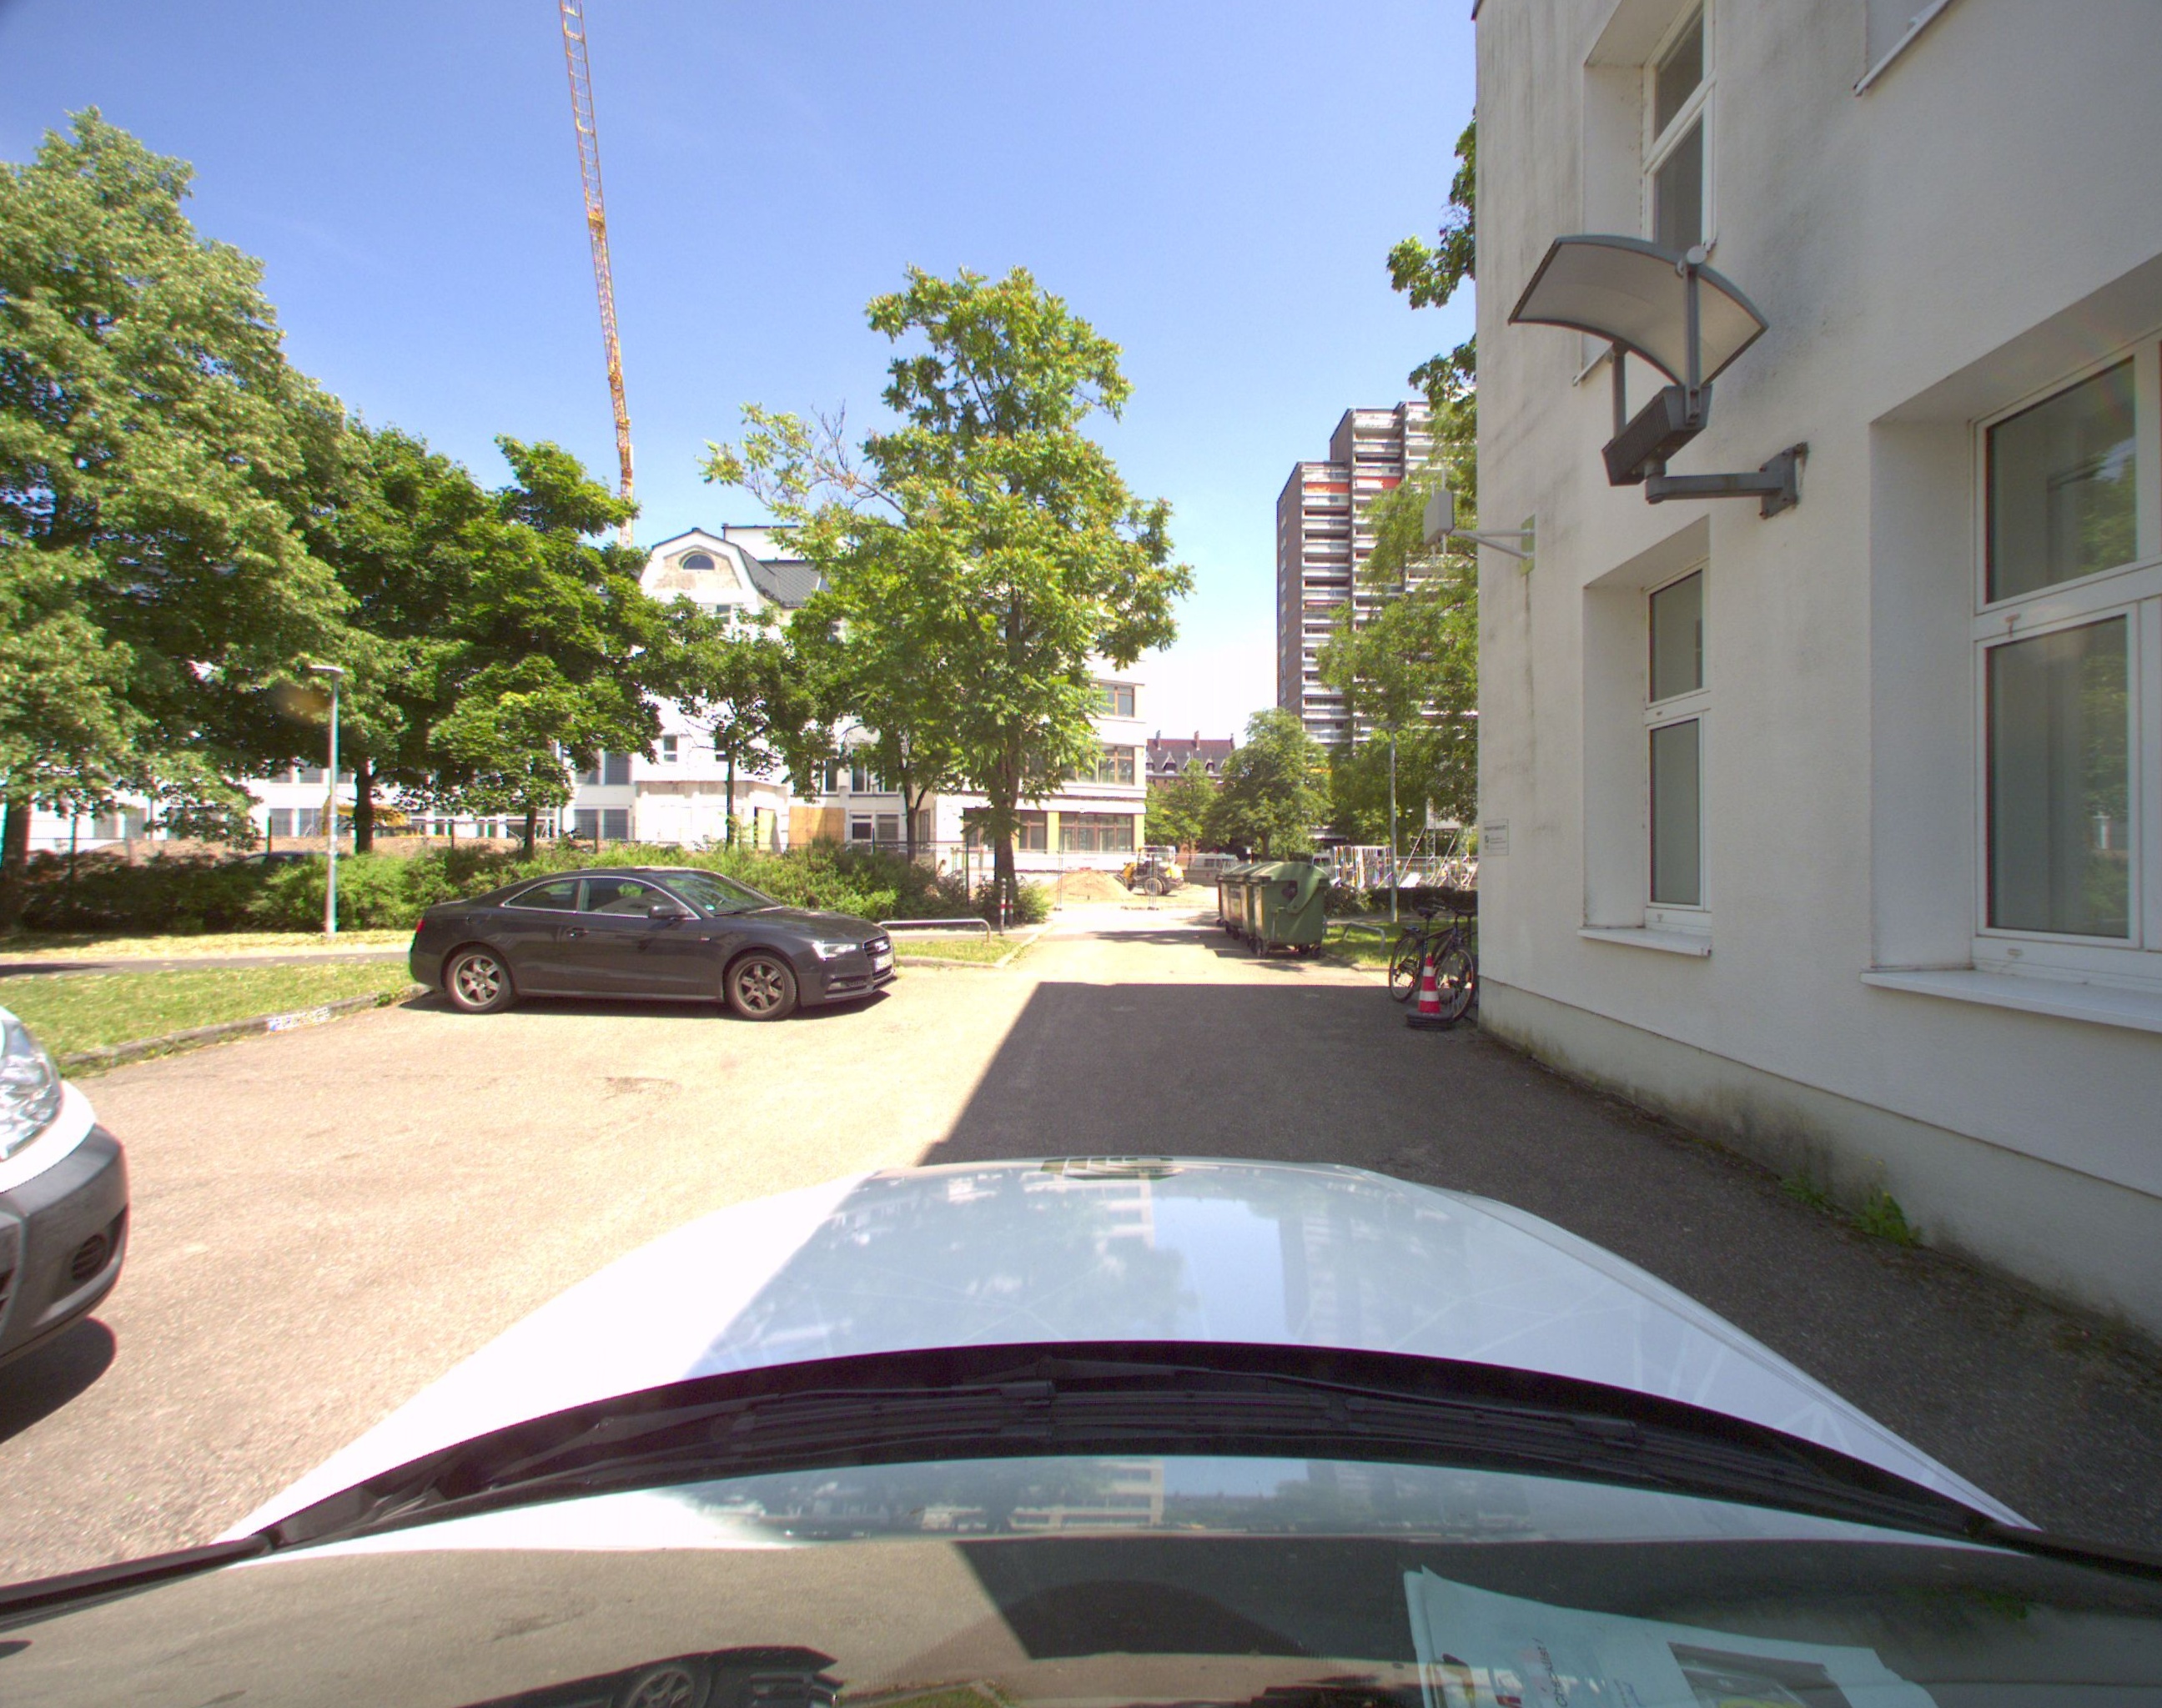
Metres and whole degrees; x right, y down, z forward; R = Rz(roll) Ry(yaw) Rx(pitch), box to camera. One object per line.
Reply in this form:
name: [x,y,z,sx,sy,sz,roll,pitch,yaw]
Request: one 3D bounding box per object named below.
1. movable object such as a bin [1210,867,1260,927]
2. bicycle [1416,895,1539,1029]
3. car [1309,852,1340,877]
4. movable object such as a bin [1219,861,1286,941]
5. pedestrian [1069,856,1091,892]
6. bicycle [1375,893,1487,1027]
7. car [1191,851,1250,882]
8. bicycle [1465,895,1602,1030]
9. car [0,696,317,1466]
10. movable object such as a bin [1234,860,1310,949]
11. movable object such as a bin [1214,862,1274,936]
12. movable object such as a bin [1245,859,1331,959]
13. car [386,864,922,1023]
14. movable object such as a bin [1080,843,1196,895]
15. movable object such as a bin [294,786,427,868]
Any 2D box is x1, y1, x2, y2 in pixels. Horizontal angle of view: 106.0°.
movable object such as a bin: [3.843,1.055,20.449,1.071,1.458,1.378,0,-1,4]
bicycle: [3.836,0.985,8.014,0.403,1.102,1.827,0,-1,3]
car: [23.085,1.004,76.992,2.164,2.258,4.896,0,-1,24]
movable object such as a bin: [3.237,0.869,15.541,1.071,1.458,1.378,0,-1,4]
pedestrian: [-0.057,1.051,42.574,0.907,1.847,0.990,0,-1,15]
bicycle: [3.367,0.960,7.980,0.403,1.102,1.827,0,-1,3]
car: [11.142,1.007,65.485,2.004,2.416,5.198,1,-1,-26]
bicycle: [4.348,0.986,7.962,0.403,1.102,1.827,0,-1,3]
car: [-5.077,0.545,1.868,4.825,1.883,2.070,0,-1,4]
movable object such as a bin: [3.267,0.840,14.065,1.071,1.458,1.378,0,-1,4]
movable object such as a bin: [3.369,0.912,16.959,1.071,1.458,1.378,0,-1,4]
movable object such as a bin: [3.170,0.811,12.624,1.071,1.458,1.378,0,-1,4]
car: [-4.089,0.807,8.338,4.408,1.380,2.026,0,-1,4]
movable object such as a bin: [2.885,0.728,41.627,5.351,2.464,2.382,2,-1,31]
movable object such as a bin: [-39.323,-1.436,44.517,5.675,4.373,2.003,0,-1,6]
